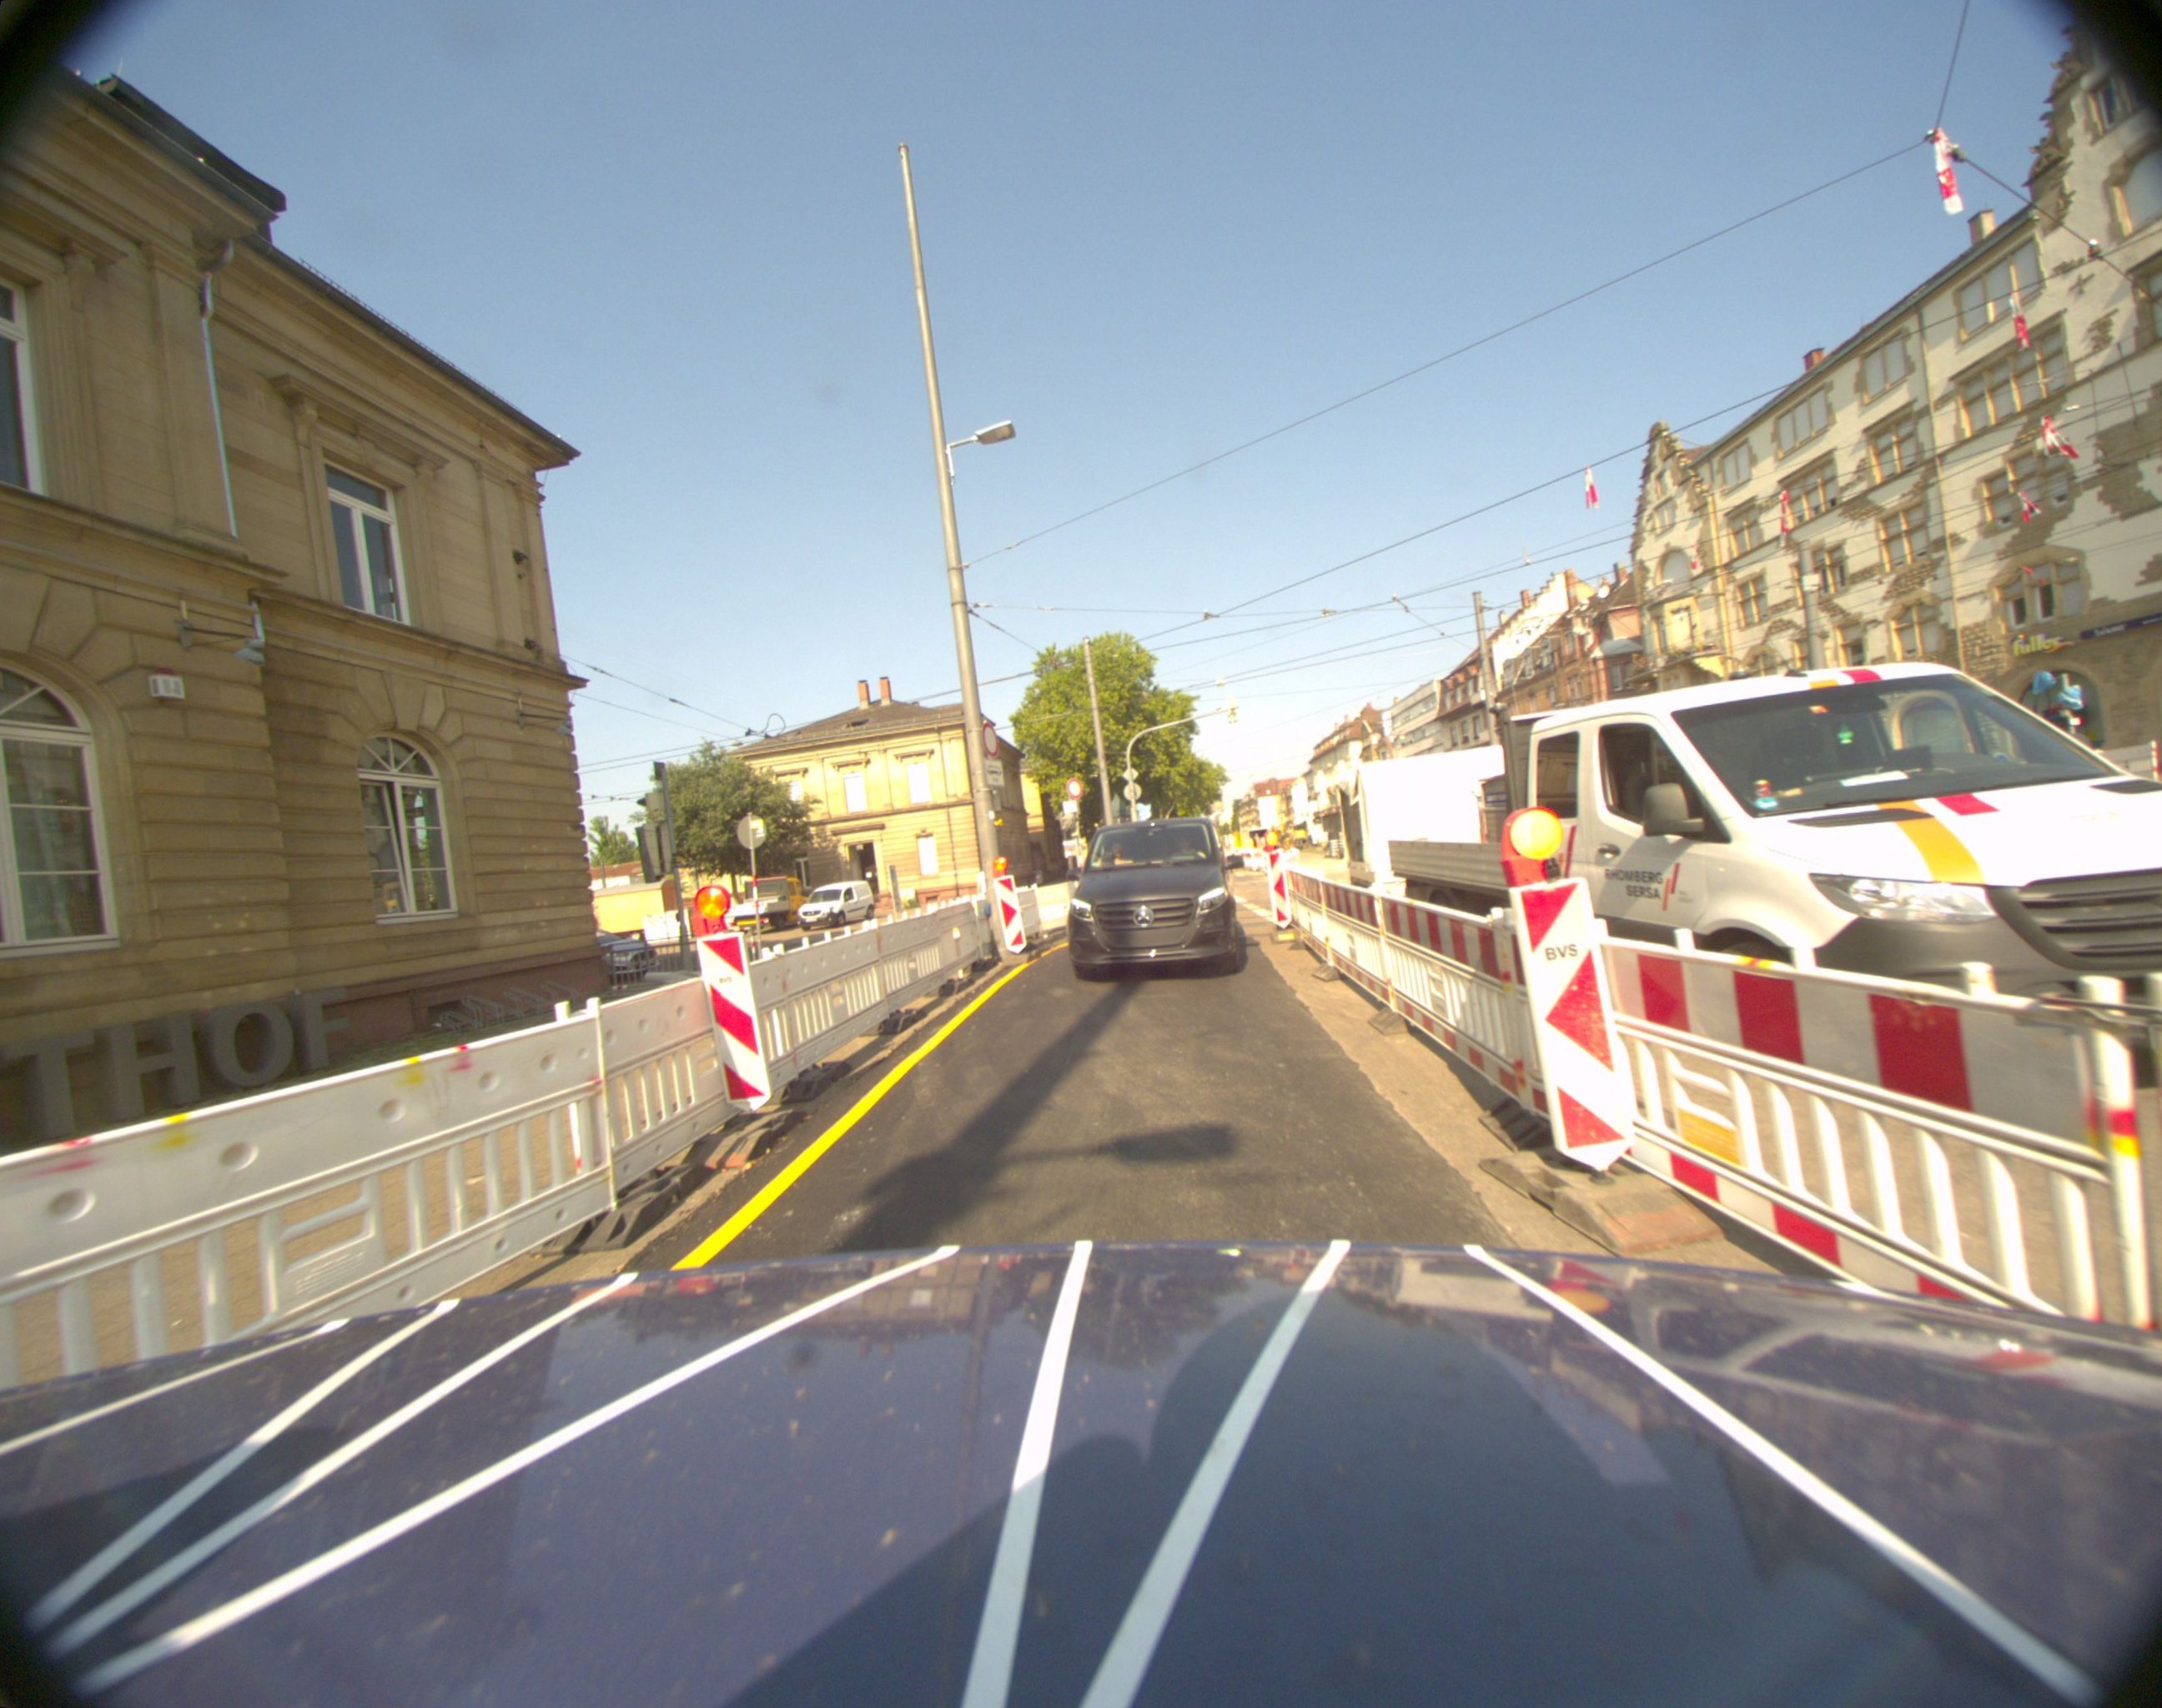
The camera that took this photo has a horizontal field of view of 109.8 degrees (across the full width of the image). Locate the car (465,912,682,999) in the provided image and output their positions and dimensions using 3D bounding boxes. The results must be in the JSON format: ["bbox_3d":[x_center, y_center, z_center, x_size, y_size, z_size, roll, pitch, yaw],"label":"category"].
[{"bbox_3d":[-12.180,2.420,18.413,4.009,1.528,1.665,-5,1,1],"label":"car"}]

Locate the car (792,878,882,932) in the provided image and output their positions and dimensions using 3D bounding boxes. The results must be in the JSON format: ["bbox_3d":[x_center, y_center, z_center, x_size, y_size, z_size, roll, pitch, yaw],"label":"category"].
[{"bbox_3d":[-10.338,2.127,32.557,1.907,1.772,4.226,-6,0,7],"label":"car"}]

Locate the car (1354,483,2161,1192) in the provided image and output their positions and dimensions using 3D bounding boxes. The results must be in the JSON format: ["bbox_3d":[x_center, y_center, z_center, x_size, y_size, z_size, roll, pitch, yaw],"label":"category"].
[{"bbox_3d":[4.540,-0.183,6.195,2.212,2.410,7.201,-7,0,4],"label":"car"}]

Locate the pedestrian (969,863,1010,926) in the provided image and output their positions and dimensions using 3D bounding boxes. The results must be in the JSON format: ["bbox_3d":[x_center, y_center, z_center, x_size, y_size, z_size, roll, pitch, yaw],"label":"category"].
[{"bbox_3d":[-2.706,1.183,22.520,0.868,1.727,0.671,-7,1,6],"label":"pedestrian"}]

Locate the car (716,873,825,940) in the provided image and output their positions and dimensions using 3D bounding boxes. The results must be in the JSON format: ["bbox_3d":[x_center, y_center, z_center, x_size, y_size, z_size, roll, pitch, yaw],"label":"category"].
[{"bbox_3d":[-14.016,2.302,34.813,2.263,2.408,5.489,-7,0,2],"label":"car"}]

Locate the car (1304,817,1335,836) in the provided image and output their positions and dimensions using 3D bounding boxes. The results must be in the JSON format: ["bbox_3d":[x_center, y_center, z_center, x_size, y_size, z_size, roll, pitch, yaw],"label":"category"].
[{"bbox_3d":[31.483,-3.637,100.660,2.366,2.122,7.124,-7,0,7],"label":"car"}]

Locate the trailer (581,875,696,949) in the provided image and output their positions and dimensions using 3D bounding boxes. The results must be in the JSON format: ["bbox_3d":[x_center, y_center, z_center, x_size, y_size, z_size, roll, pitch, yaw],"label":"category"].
[{"bbox_3d":[-23.204,2.994,39.977,4.118,3.030,2.514,-9,1,0],"label":"trailer"}]

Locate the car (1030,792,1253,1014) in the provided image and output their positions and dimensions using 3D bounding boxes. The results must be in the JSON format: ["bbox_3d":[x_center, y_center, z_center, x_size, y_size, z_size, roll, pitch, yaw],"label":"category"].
[{"bbox_3d":[0.795,0.427,8.942,1.852,1.875,4.180,-5,1,7],"label":"car"}]

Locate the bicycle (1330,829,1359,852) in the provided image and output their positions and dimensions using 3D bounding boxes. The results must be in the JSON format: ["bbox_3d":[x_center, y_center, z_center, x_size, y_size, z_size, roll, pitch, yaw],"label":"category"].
[{"bbox_3d":[13.433,-0.665,38.839,0.564,1.092,1.967,-9,1,-3],"label":"bicycle"}]
